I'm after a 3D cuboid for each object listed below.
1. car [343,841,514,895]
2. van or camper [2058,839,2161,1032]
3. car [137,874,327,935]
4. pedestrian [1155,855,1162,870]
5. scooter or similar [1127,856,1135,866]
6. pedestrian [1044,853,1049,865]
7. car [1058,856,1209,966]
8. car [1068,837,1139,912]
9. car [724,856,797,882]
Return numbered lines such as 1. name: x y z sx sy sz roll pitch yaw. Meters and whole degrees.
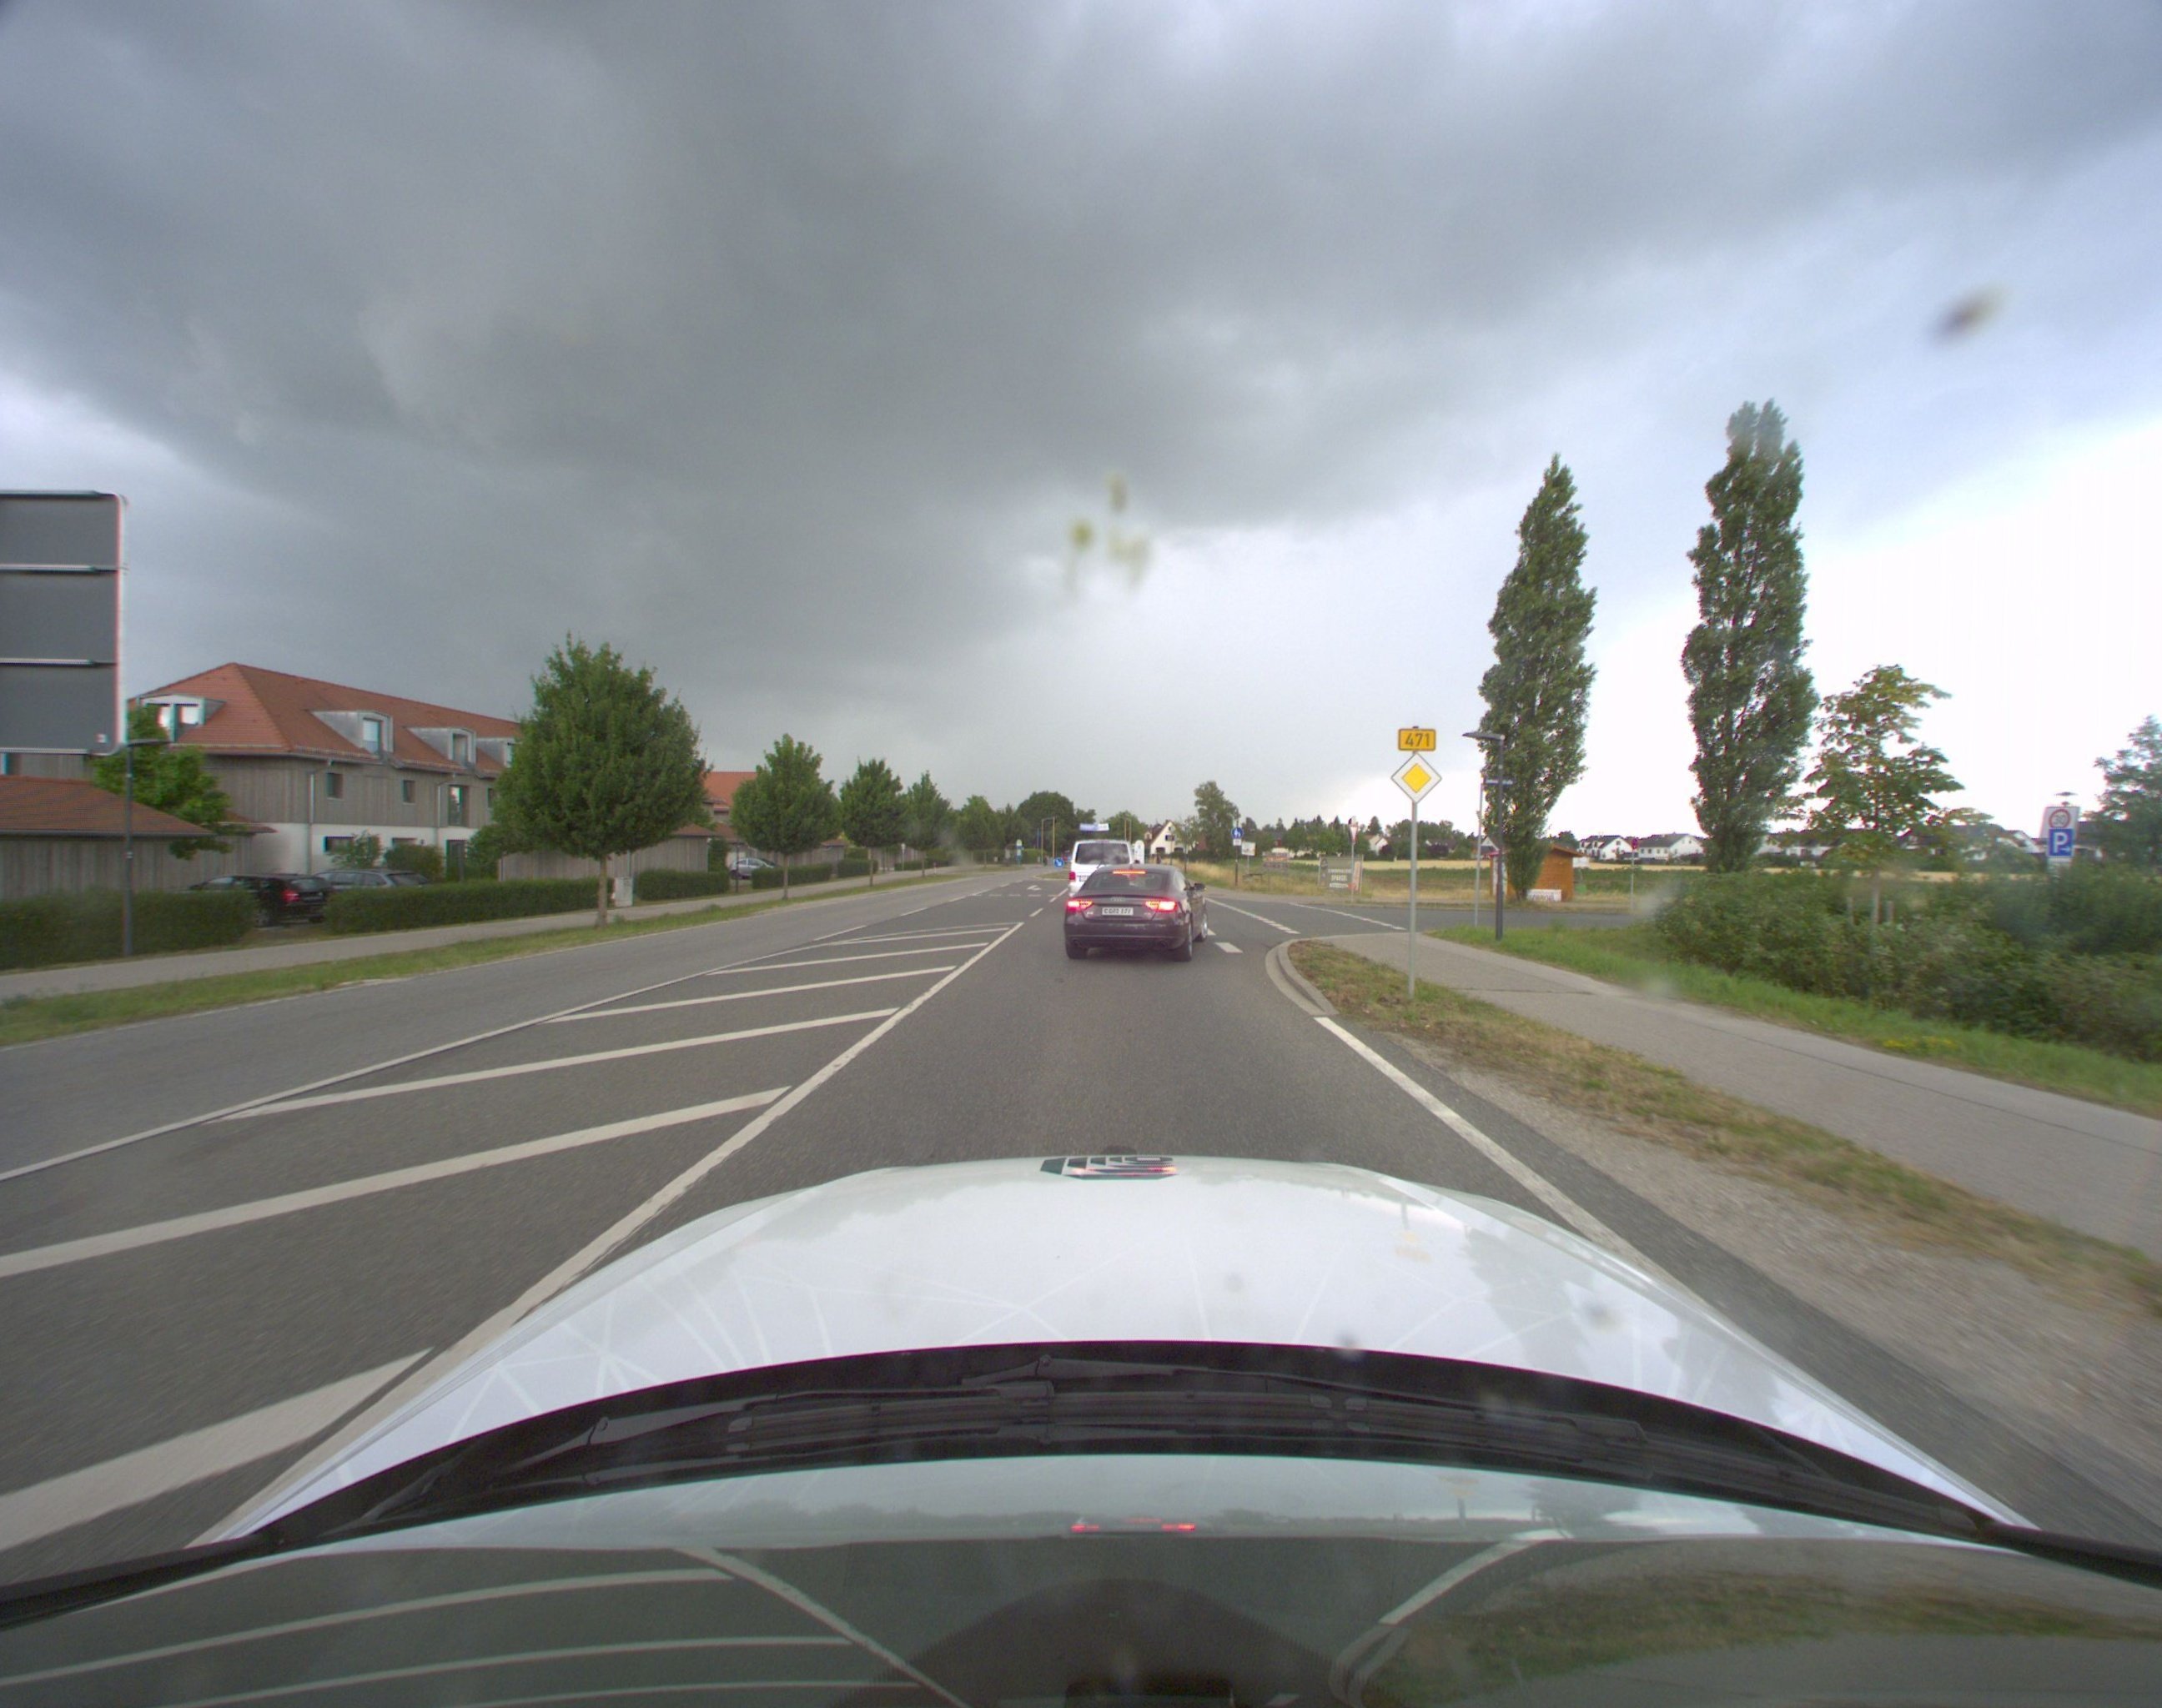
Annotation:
1. car: -21.235 0.433 26.611 3.970 1.618 2.002 -1 0 3
2. van or camper: 17.018 0.987 10.406 6.447 2.464 2.281 -1 0 -1
3. car: -22.950 1.355 22.094 3.501 1.489 1.564 -1 0 1
4. pedestrian: 7.870 0.837 83.127 0.621 1.525 0.680 -1 0 1
5. scooter or similar: 5.961 0.836 96.835 0.845 1.103 1.095 -1 0 2
6. pedestrian: -4.436 0.607 105.238 0.621 1.525 0.680 -1 0 1
7. car: 1.030 0.780 13.100 1.814 1.388 4.401 -1 0 11
8. car: 0.599 0.530 23.247 1.819 1.913 4.000 2 0 0
9. car: -21.276 0.973 54.146 3.970 1.556 2.002 2 0 3
